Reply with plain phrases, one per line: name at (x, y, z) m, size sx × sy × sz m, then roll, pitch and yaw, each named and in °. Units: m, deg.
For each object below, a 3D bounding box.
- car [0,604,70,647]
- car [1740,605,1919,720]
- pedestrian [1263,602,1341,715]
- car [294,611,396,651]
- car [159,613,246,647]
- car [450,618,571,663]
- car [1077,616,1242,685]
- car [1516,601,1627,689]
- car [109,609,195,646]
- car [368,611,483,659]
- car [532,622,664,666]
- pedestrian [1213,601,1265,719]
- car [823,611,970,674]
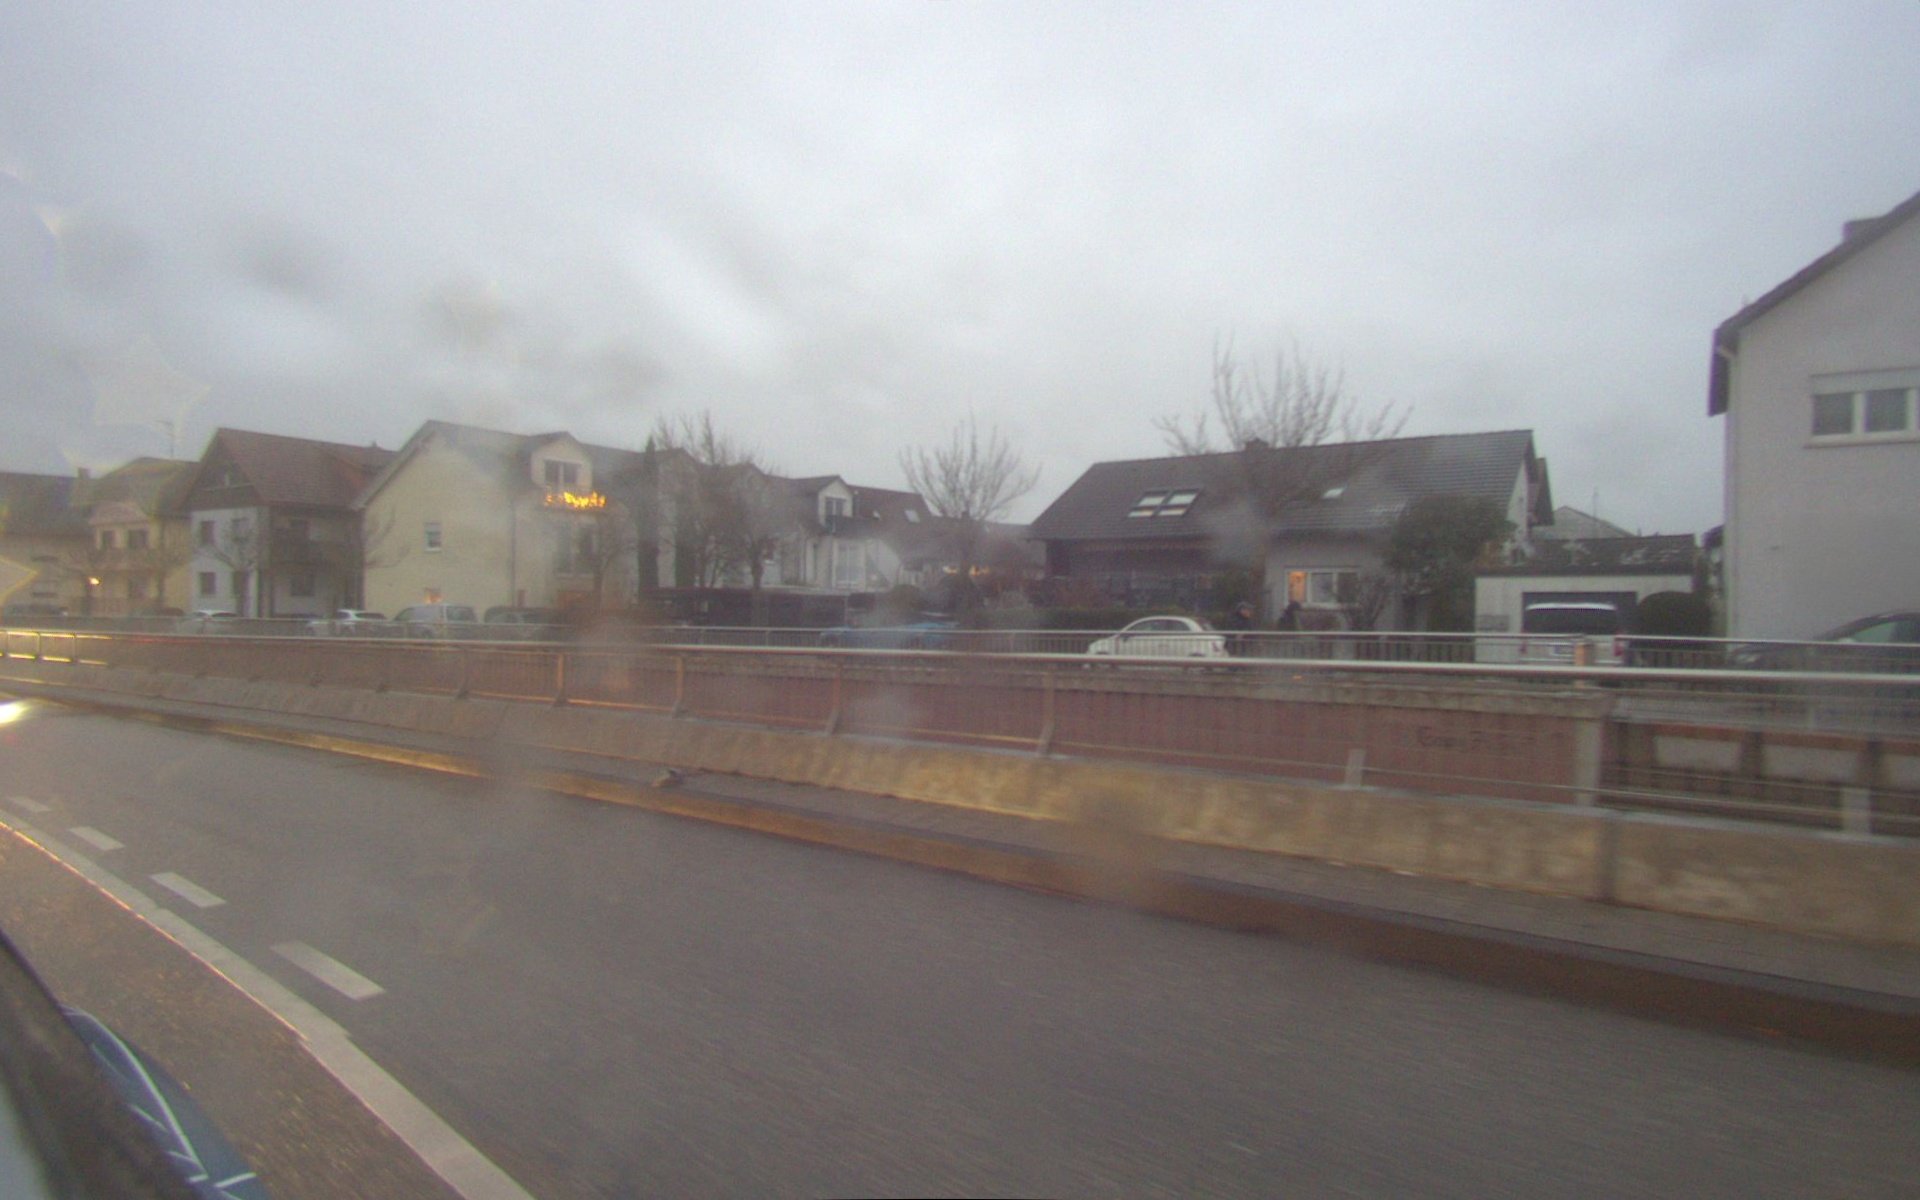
car at (-41.809, 1.124, 45.083) m, size 3.837 × 1.817 × 1.791 m, roll 0°, pitch -1°, yaw 24°
car at (14.784, 0.937, 15.620) m, size 4.208 × 1.695 × 1.894 m, roll -1°, pitch -1°, yaw 35°
pedestrian at (5.654, 0.935, 16.732) m, size 0.972 × 1.798 × 0.919 m, roll -1°, pitch 0°, yaw 37°
car at (-26.135, 1.335, 42.998) m, size 4.206 × 1.610 × 1.861 m, roll -1°, pitch -3°, yaw 29°
car at (-36.296, 1.425, 48.496) m, size 4.012 × 1.535 × 1.758 m, roll 0°, pitch -1°, yaw 28°
car at (-16.695, 1.490, 37.556) m, size 4.484 × 1.584 × 1.860 m, roll -1°, pitch -3°, yaw 31°
car at (4.565, 1.103, 23.315) m, size 3.452 × 1.438 × 1.469 m, roll 0°, pitch 0°, yaw 35°
car at (13.134, 0.942, 21.684) m, size 1.859 × 1.707 × 3.955 m, roll -1°, pitch -2°, yaw 33°
car at (-40.063, 1.315, 50.170) m, size 3.980 × 1.694 × 1.847 m, roll 0°, pitch 2°, yaw 28°
car at (-21.194, 1.393, 40.094) m, size 4.481 × 1.792 × 1.861 m, roll -1°, pitch -3°, yaw 29°
car at (-12.507, 1.504, 34.874) m, size 4.484 × 1.444 × 1.860 m, roll -1°, pitch -3°, yaw 31°
pedestrian at (4.209, 0.882, 15.257) m, size 0.540 × 1.710 × 0.657 m, roll -1°, pitch 0°, yaw 37°
car at (-1.766, 1.144, 27.804) m, size 3.807 × 1.592 × 1.553 m, roll 0°, pitch -2°, yaw 31°
